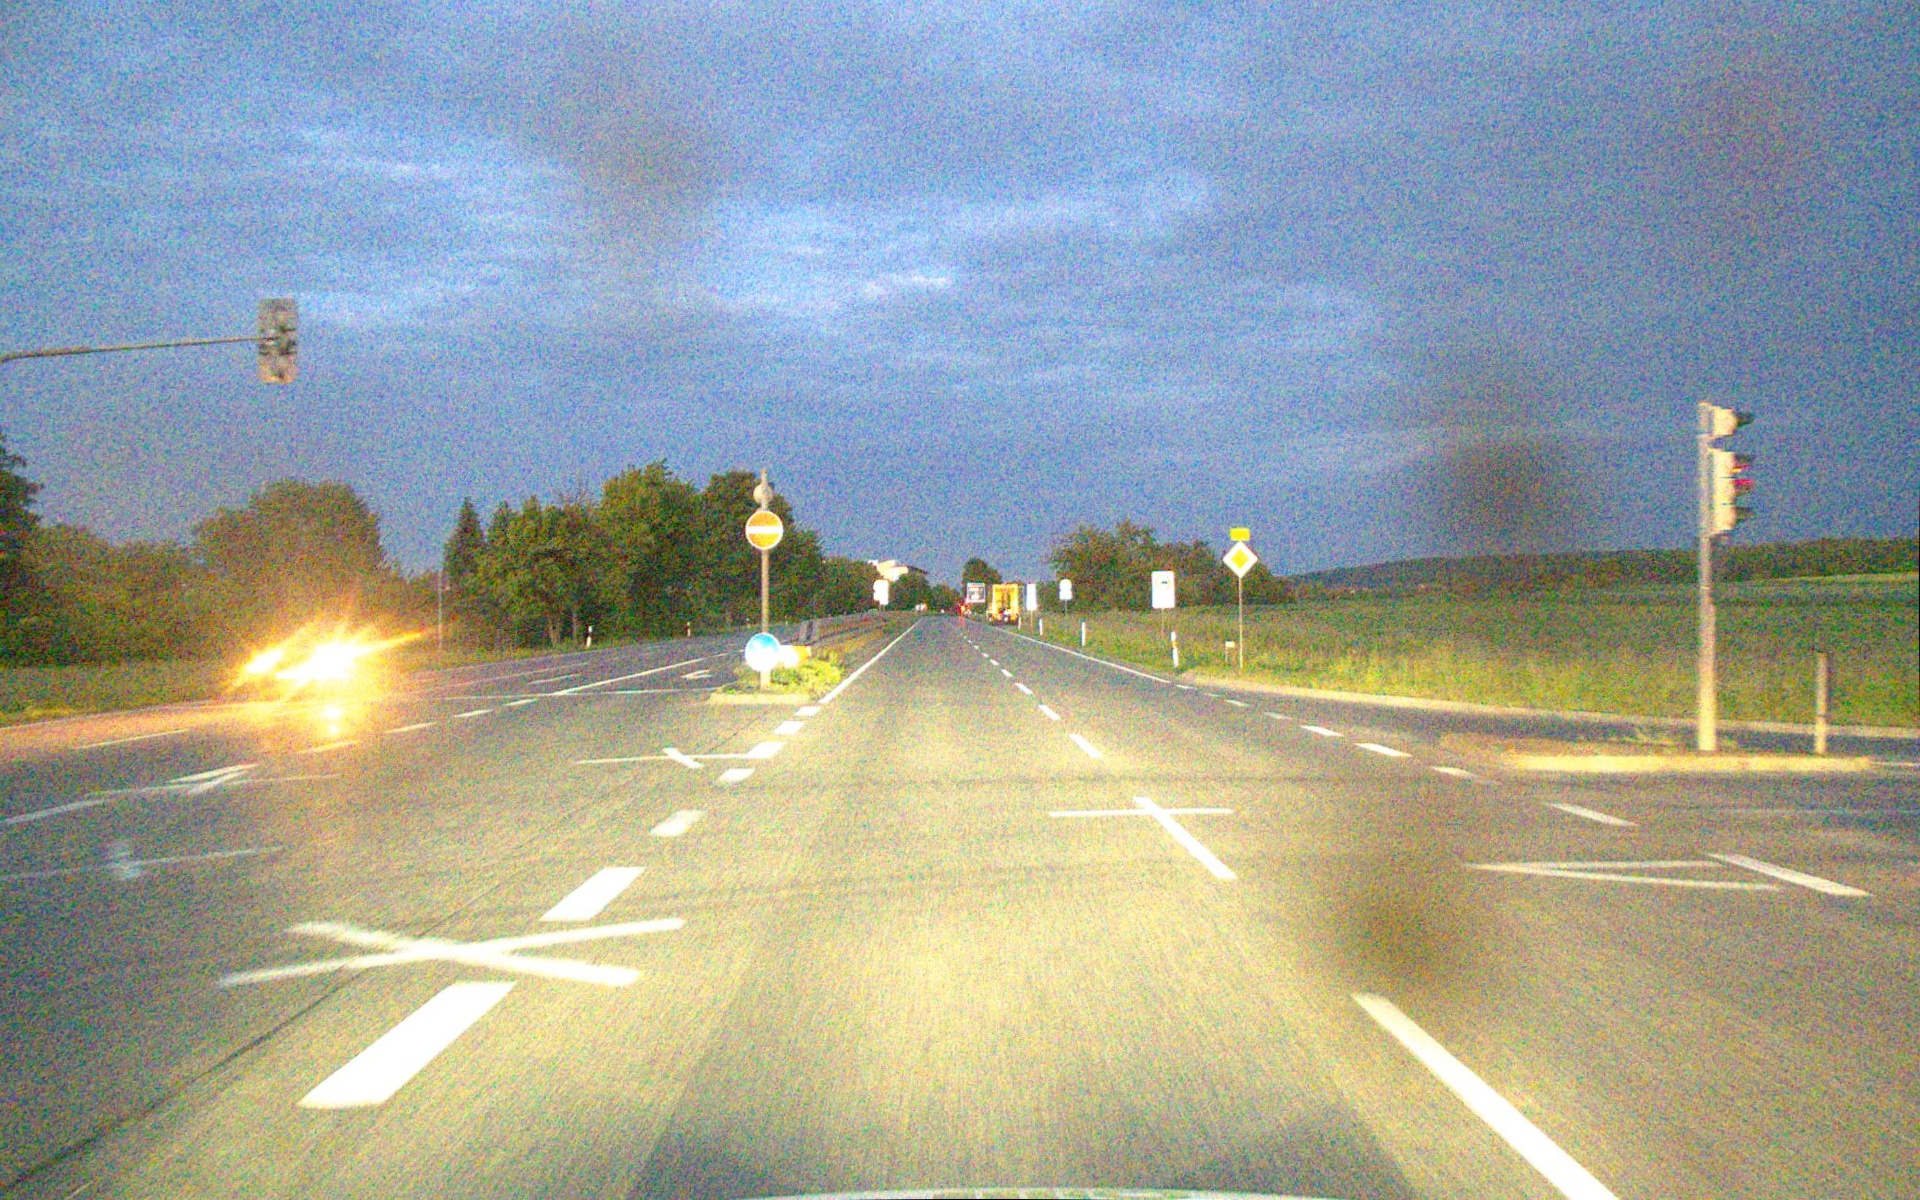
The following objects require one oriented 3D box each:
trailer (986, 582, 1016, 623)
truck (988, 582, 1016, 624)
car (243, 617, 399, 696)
[{"bbox_3d":[4.192,0.274,172.415,2.569,4.176,12.934,0,0,-1],"label":"trailer"},{"bbox_3d":[4.209,0.265,166.309,2.527,4.142,6.129,1,0,0],"label":"truck"},{"bbox_3d":[-12.751,1.089,33.245,1.619,1.408,4.028,-3,-1,-2],"label":"car"}]
